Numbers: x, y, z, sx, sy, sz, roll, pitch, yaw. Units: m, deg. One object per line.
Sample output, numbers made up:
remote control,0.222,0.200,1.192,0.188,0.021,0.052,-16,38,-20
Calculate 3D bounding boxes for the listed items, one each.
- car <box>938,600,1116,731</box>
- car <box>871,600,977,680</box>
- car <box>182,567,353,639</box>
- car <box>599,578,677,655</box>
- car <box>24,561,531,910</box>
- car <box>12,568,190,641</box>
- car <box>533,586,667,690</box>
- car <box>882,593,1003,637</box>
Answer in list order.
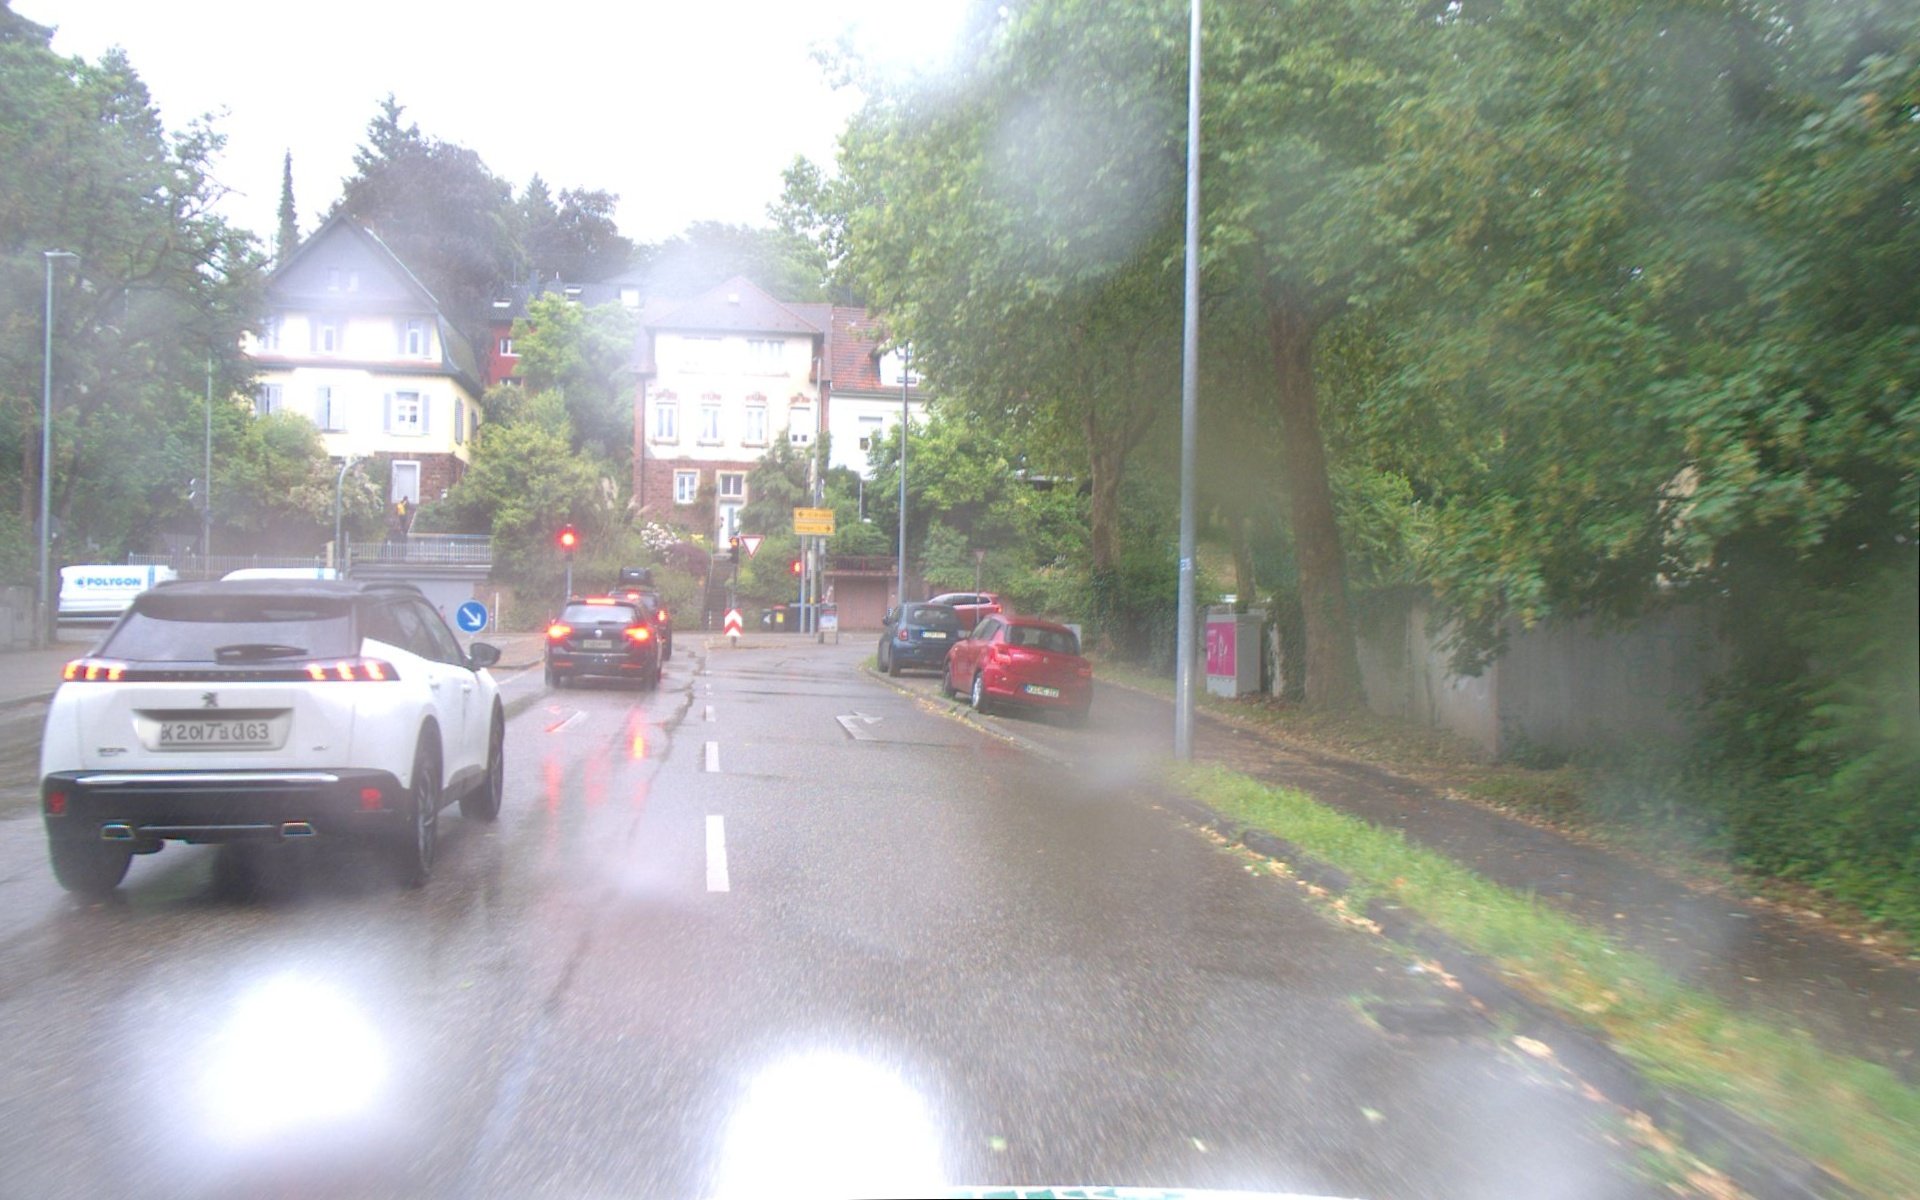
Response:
car,0.947,0.941,25.530,1.788,1.543,3.734,8,0,-11
car,-0.809,0.820,34.959,1.717,1.517,3.592,4,-1,-8
car,-26.687,0.144,63.909,5.553,2.538,2.312,2,-2,-7
car,-7.909,0.362,40.917,1.728,1.741,4.590,2,0,-10
car,-3.654,0.614,9.712,1.720,1.563,4.359,0,0,-8
car,-32.762,0.204,63.232,5.457,2.538,2.312,2,-2,-7
car,-5.976,0.568,27.917,1.798,1.481,4.650,4,0,-8
car,-0.699,0.571,63.331,4.481,1.629,1.772,0,-2,-7
